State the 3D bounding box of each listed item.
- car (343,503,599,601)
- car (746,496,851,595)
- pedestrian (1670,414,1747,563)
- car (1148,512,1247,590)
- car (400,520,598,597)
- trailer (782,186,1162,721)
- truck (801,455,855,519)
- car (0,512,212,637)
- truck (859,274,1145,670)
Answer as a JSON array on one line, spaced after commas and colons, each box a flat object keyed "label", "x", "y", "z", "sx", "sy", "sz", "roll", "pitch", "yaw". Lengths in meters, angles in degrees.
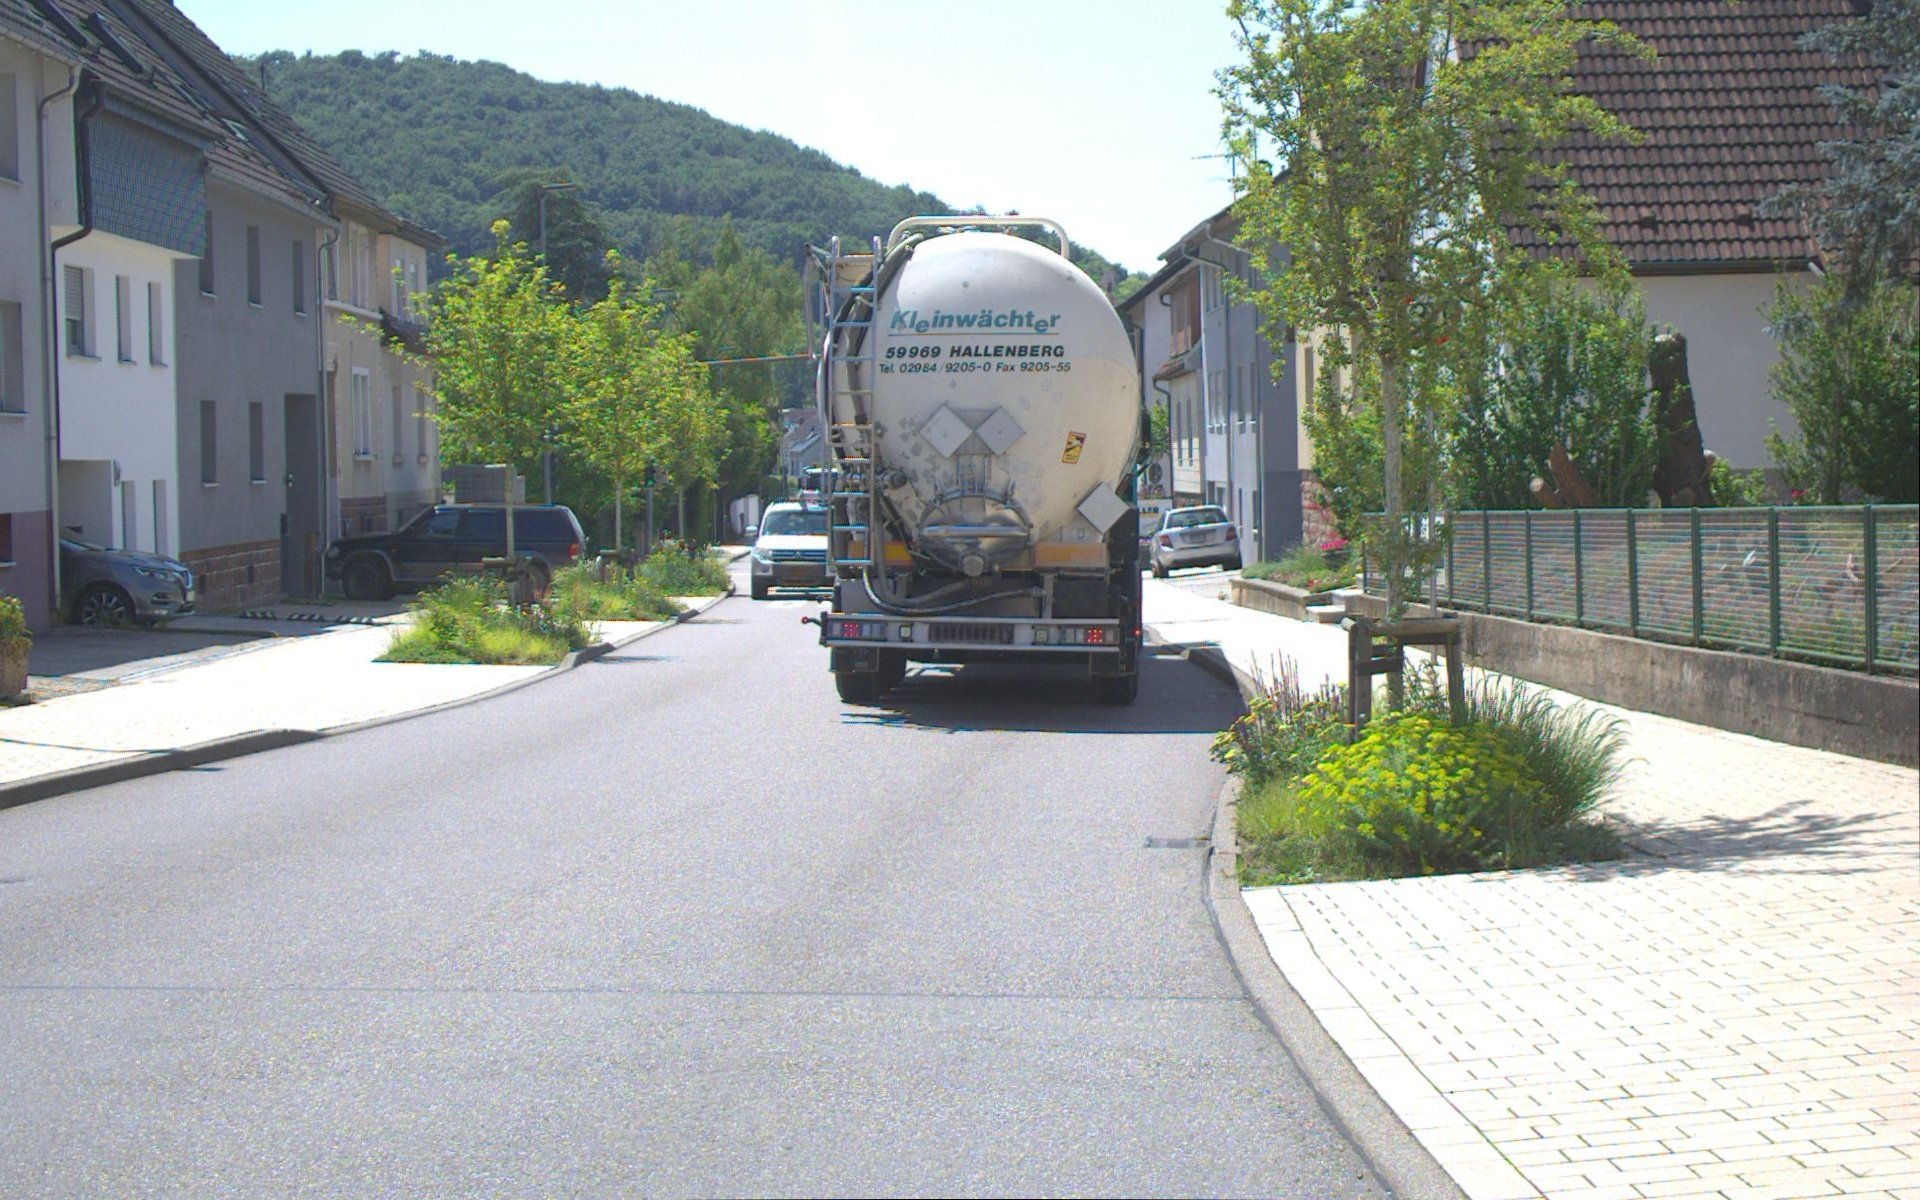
[{"label": "car", "x": -8.818, "y": -0.883, "z": 62.266, "sx": 4.394, "sy": 1.744, "sz": 1.878, "roll": 0, "pitch": 1, "yaw": -1}, {"label": "car", "x": -3.142, "y": -1.078, "z": 67.449, "sx": 1.889, "sy": 1.854, "sz": 4.578, "roll": 1, "pitch": 1, "yaw": -1}, {"label": "pedestrian", "x": 8.383, "y": -1.247, "z": 38.507, "sx": 0.604, "sy": 1.610, "sz": 0.552, "roll": -5, "pitch": 1, "yaw": 0}, {"label": "car", "x": 4.997, "y": -1.053, "z": 72.768, "sx": 1.791, "sy": 1.536, "sz": 4.520, "roll": -2, "pitch": 1, "yaw": 1}, {"label": "car", "x": -8.910, "y": -0.813, "z": 66.402, "sx": 3.547, "sy": 1.434, "sz": 1.695, "roll": 0, "pitch": 2, "yaw": 34}, {"label": "trailer", "x": 0.298, "y": -1.210, "z": 31.063, "sx": 2.796, "sy": 3.987, "sz": 10.323, "roll": 1, "pitch": 1, "yaw": 2}, {"label": "truck", "x": -7.070, "y": -6.051, "z": 184.859, "sx": 2.728, "sy": 3.360, "sz": 8.635, "roll": 1, "pitch": 2, "yaw": -1}, {"label": "car", "x": -11.640, "y": -0.343, "z": 43.434, "sx": 3.987, "sy": 1.540, "sz": 1.832, "roll": 0, "pitch": 1, "yaw": 0}, {"label": "truck", "x": 0.543, "y": -1.348, "z": 37.558, "sx": 2.808, "sy": 3.923, "sz": 6.099, "roll": 1, "pitch": 1, "yaw": 2}]
